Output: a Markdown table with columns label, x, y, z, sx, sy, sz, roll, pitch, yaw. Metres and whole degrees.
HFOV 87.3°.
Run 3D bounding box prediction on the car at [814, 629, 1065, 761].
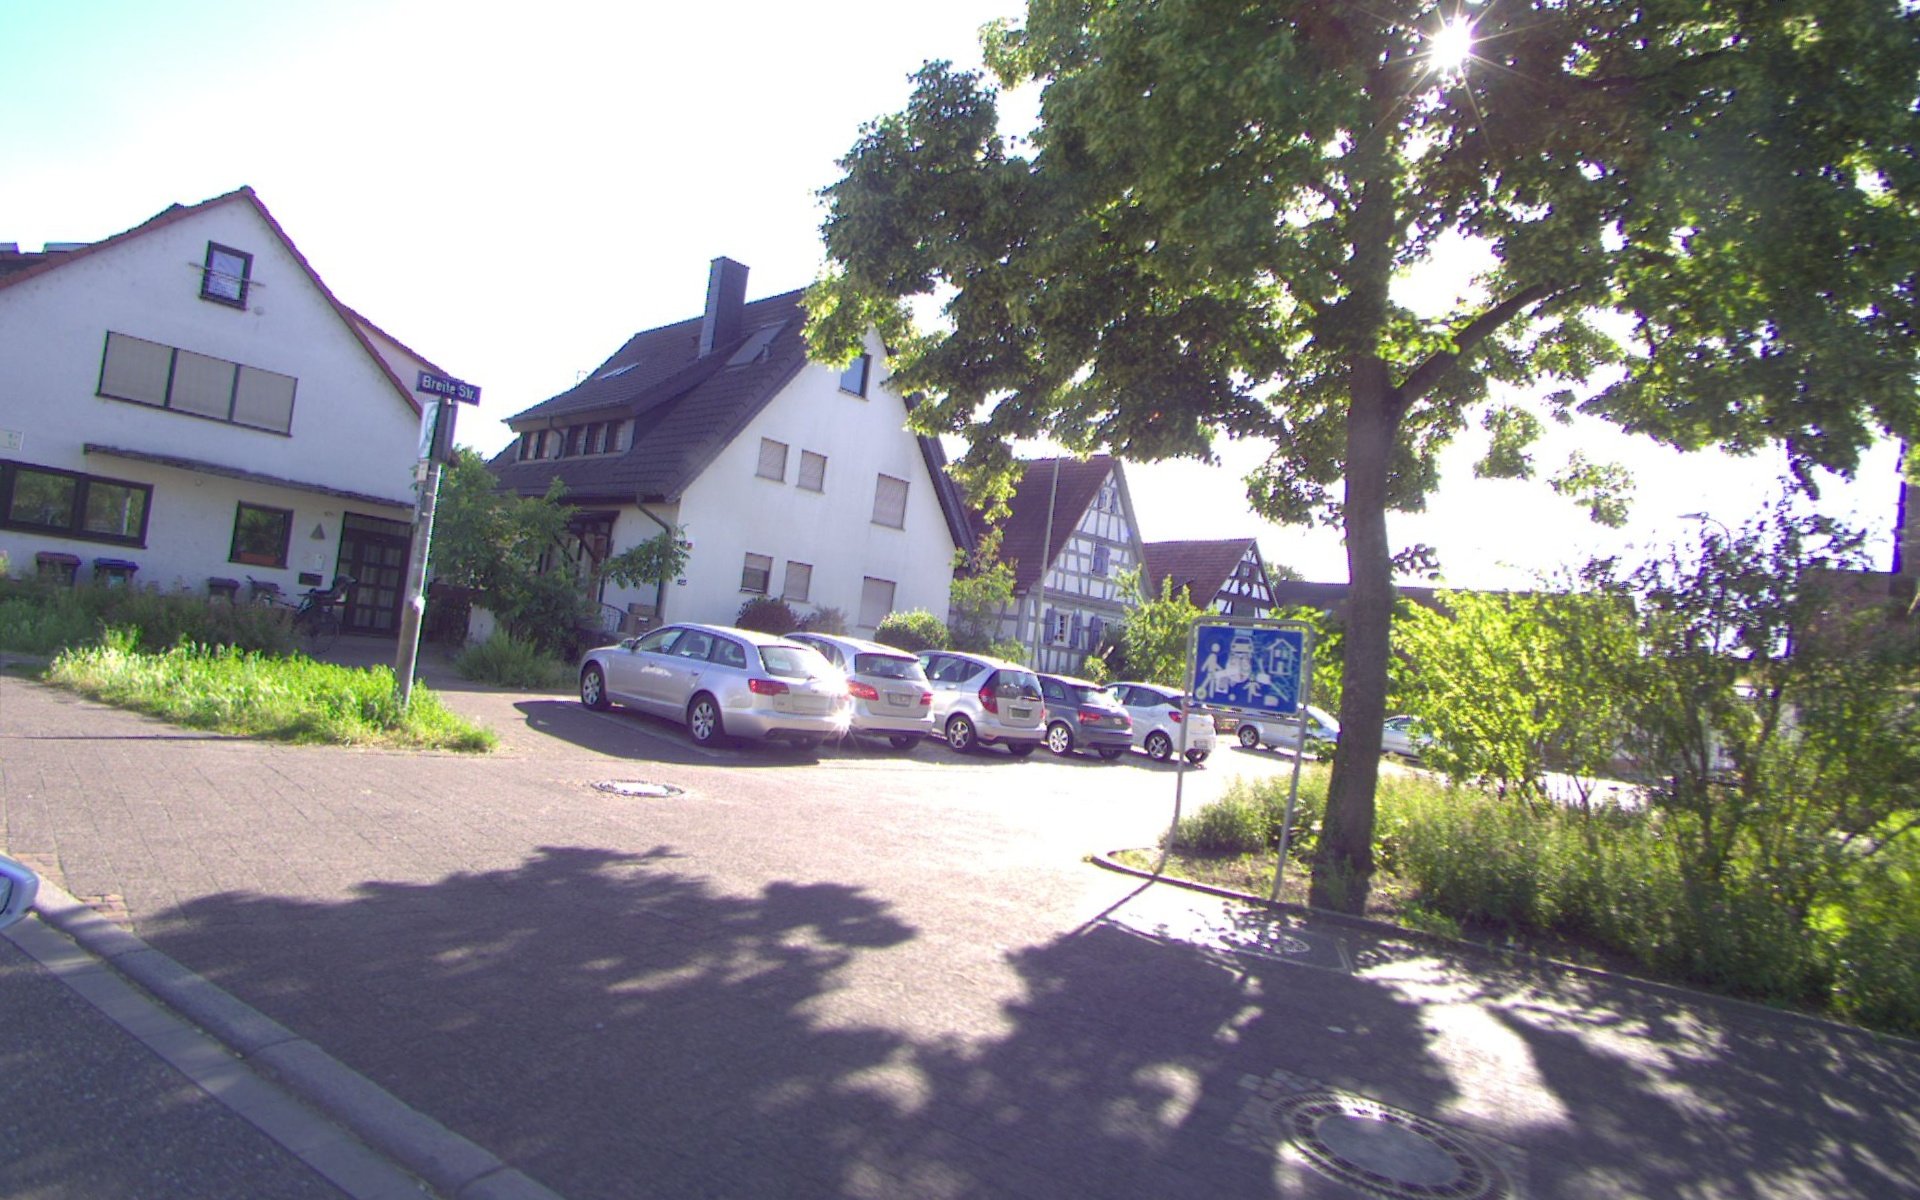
| label | x | y | z | sx | sy | sz | roll | pitch | yaw |
| --- | --- | --- | --- | --- | --- | --- | --- | --- | --- |
| car | -0.469 | 1.633 | 17.885 | 4.343 | 1.569 | 1.707 | 7 | -2 | 43 |

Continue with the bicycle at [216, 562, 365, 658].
| label | x | y | z | sx | sy | sz | roll | pitch | yaw |
| --- | --- | --- | --- | --- | --- | --- | --- | --- | --- |
| bicycle | -10.726 | 0.178 | 16.163 | 0.690 | 1.298 | 1.737 | 5 | -4 | 39 |

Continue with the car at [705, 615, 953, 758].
| label | x | y | z | sx | sy | sz | roll | pitch | yaw |
| --- | --- | --- | --- | --- | --- | --- | --- | --- | --- |
| car | -2.247 | 1.317 | 16.227 | 1.703 | 1.534 | 4.353 | 11 | -3 | -41 |

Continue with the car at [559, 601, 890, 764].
| label | x | y | z | sx | sy | sz | roll | pitch | yaw |
| --- | --- | --- | --- | --- | --- | --- | --- | --- | --- |
| car | -3.409 | 1.078 | 13.987 | 4.735 | 1.438 | 1.993 | 7 | -2 | 42 |

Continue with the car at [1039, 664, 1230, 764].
| label | x | y | z | sx | sy | sz | roll | pitch | yaw |
| --- | --- | --- | --- | --- | --- | --- | --- | --- | --- |
| car | 3.714 | 2.446 | 21.885 | 1.593 | 1.491 | 3.762 | 9 | -1 | -43 |

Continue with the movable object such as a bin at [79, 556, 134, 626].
| label | x | y | z | sx | sy | sz | roll | pitch | yaw |
| --- | --- | --- | --- | --- | --- | --- | --- | --- | --- |
| movable object such as a bin | -15.168 | -0.159 | 17.879 | 0.738 | 1.135 | 0.526 | 6 | -2 | 41 |

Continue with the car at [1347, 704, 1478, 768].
| label | x | y | z | sx | sy | sz | roll | pitch | yaw |
| --- | --- | --- | --- | --- | --- | --- | --- | --- | --- |
| car | 15.072 | 4.525 | 33.584 | 3.569 | 1.469 | 1.454 | 7 | -2 | 43 |

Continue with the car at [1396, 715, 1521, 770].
| label | x | y | z | sx | sy | sz | roll | pitch | yaw |
| --- | --- | --- | --- | --- | --- | --- | --- | --- | --- |
| car | 17.169 | 4.885 | 34.724 | 3.568 | 1.208 | 1.340 | 7 | -2 | 41 |

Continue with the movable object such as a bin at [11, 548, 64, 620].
| label | x | y | z | sx | sy | sz | roll | pitch | yaw |
| --- | --- | --- | --- | --- | --- | --- | --- | --- | --- |
| movable object such as a bin | -15.836 | -0.274 | 17.274 | 0.738 | 1.135 | 0.480 | 6 | -2 | 41 |

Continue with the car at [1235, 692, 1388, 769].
| label | x | y | z | sx | sy | sz | roll | pitch | yaw |
| --- | --- | --- | --- | --- | --- | --- | --- | --- | --- |
| car | 9.642 | 3.563 | 27.766 | 3.569 | 1.437 | 1.453 | 7 | 0 | 43 |

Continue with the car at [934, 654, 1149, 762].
| label | x | y | z | sx | sy | sz | roll | pitch | yaw |
| --- | --- | --- | --- | --- | --- | --- | --- | --- | --- |
| car | 1.529 | 2.098 | 19.965 | 1.642 | 1.364 | 4.062 | 11 | -3 | -43 |

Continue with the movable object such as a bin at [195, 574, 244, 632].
| label | x | y | z | sx | sy | sz | roll | pitch | yaw |
| --- | --- | --- | --- | --- | --- | --- | --- | --- | --- |
| movable object such as a bin | -14.162 | 0.058 | 19.230 | 0.660 | 0.994 | 0.529 | 6 | -2 | 41 |

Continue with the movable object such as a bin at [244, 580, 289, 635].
| label | x | y | z | sx | sy | sz | roll | pitch | yaw |
| --- | --- | --- | --- | --- | --- | --- | --- | --- | --- |
| movable object such as a bin | -13.674 | 0.147 | 19.830 | 0.586 | 0.988 | 0.497 | 6 | -2 | 41 |
